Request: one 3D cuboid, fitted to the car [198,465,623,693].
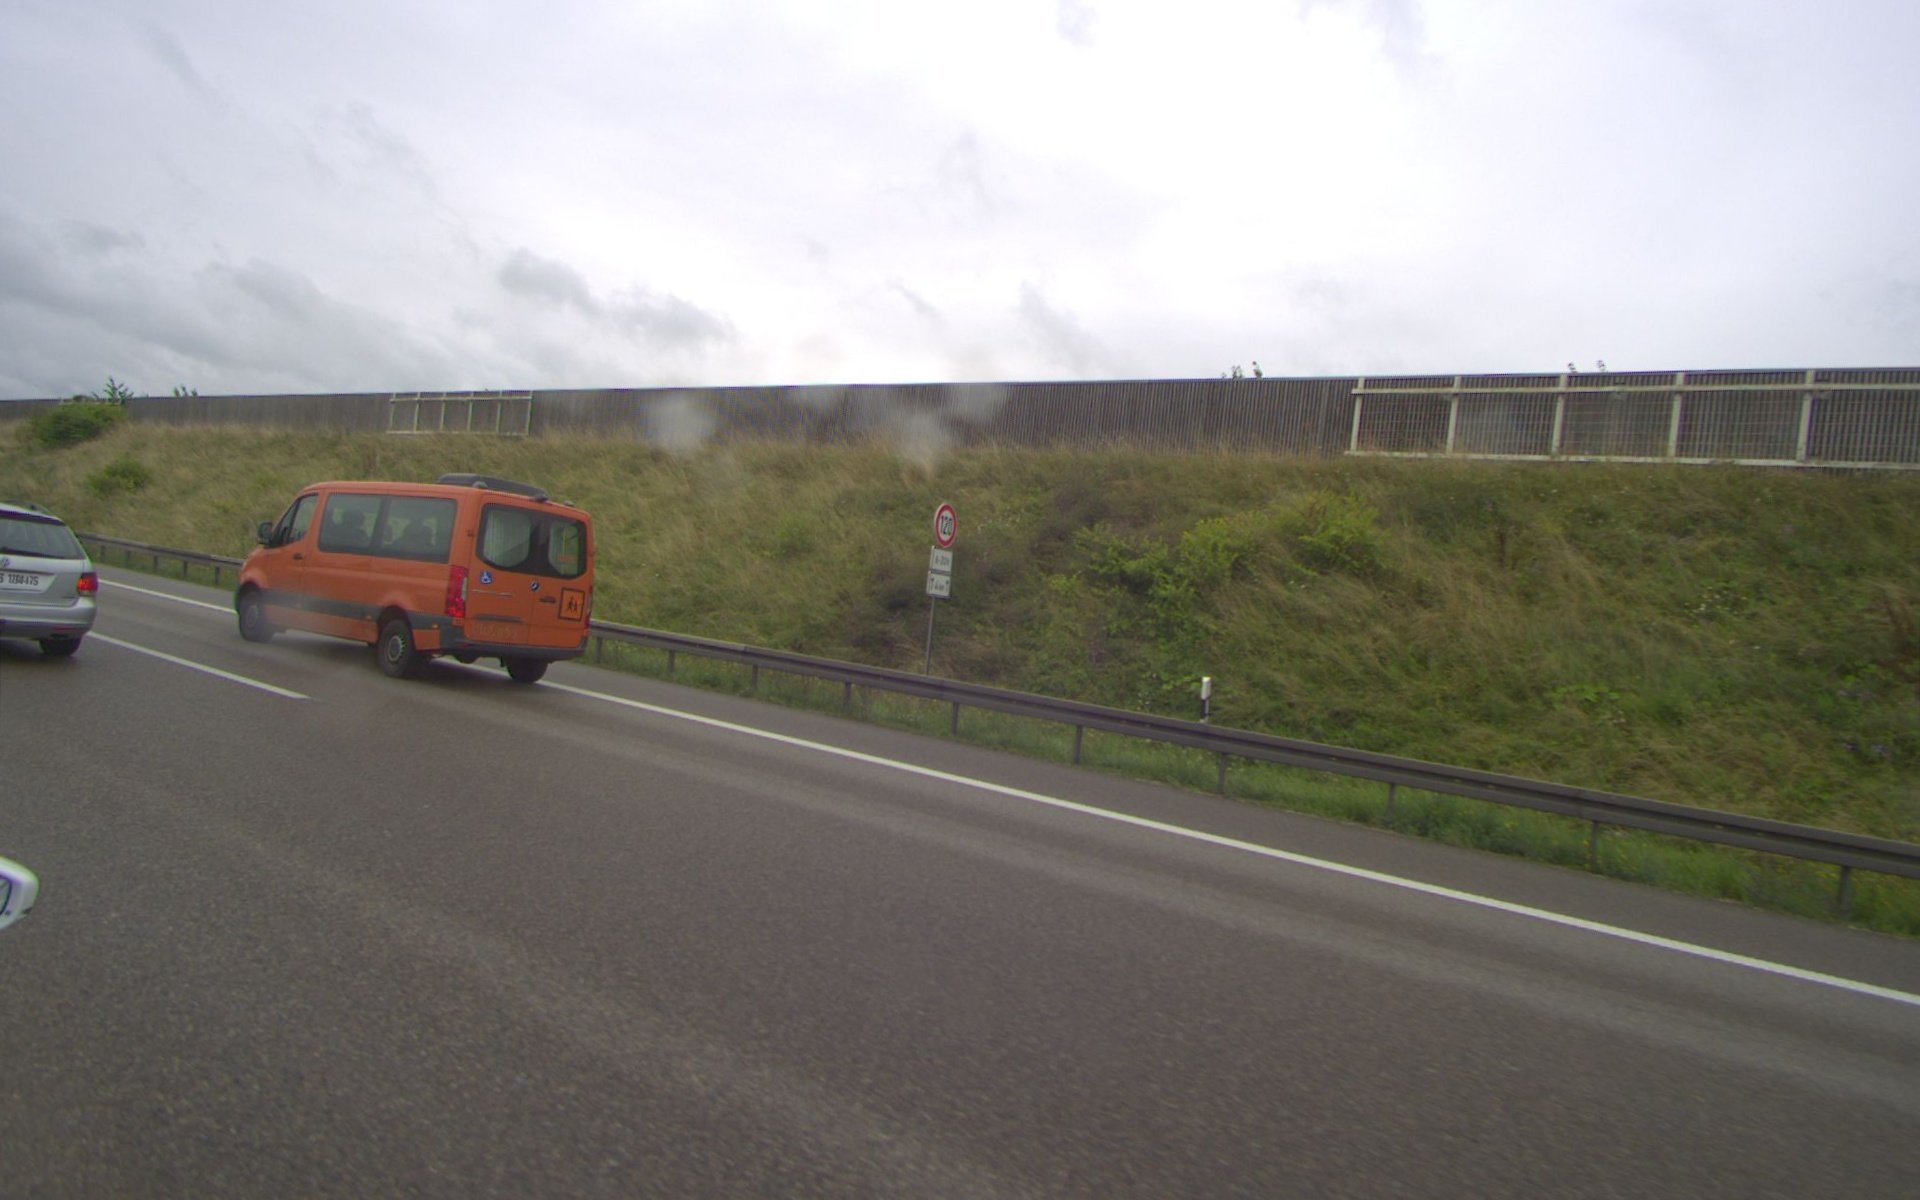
[{"bbox_3d":[-7.606,-0.358,13.677,6.077,2.343,2.089,7,0,31],"label":"car"}]

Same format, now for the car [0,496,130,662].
[{"bbox_3d":[-10.349,-0.405,10.062,4.442,1.442,1.744,7,0,32],"label":"car"}]
